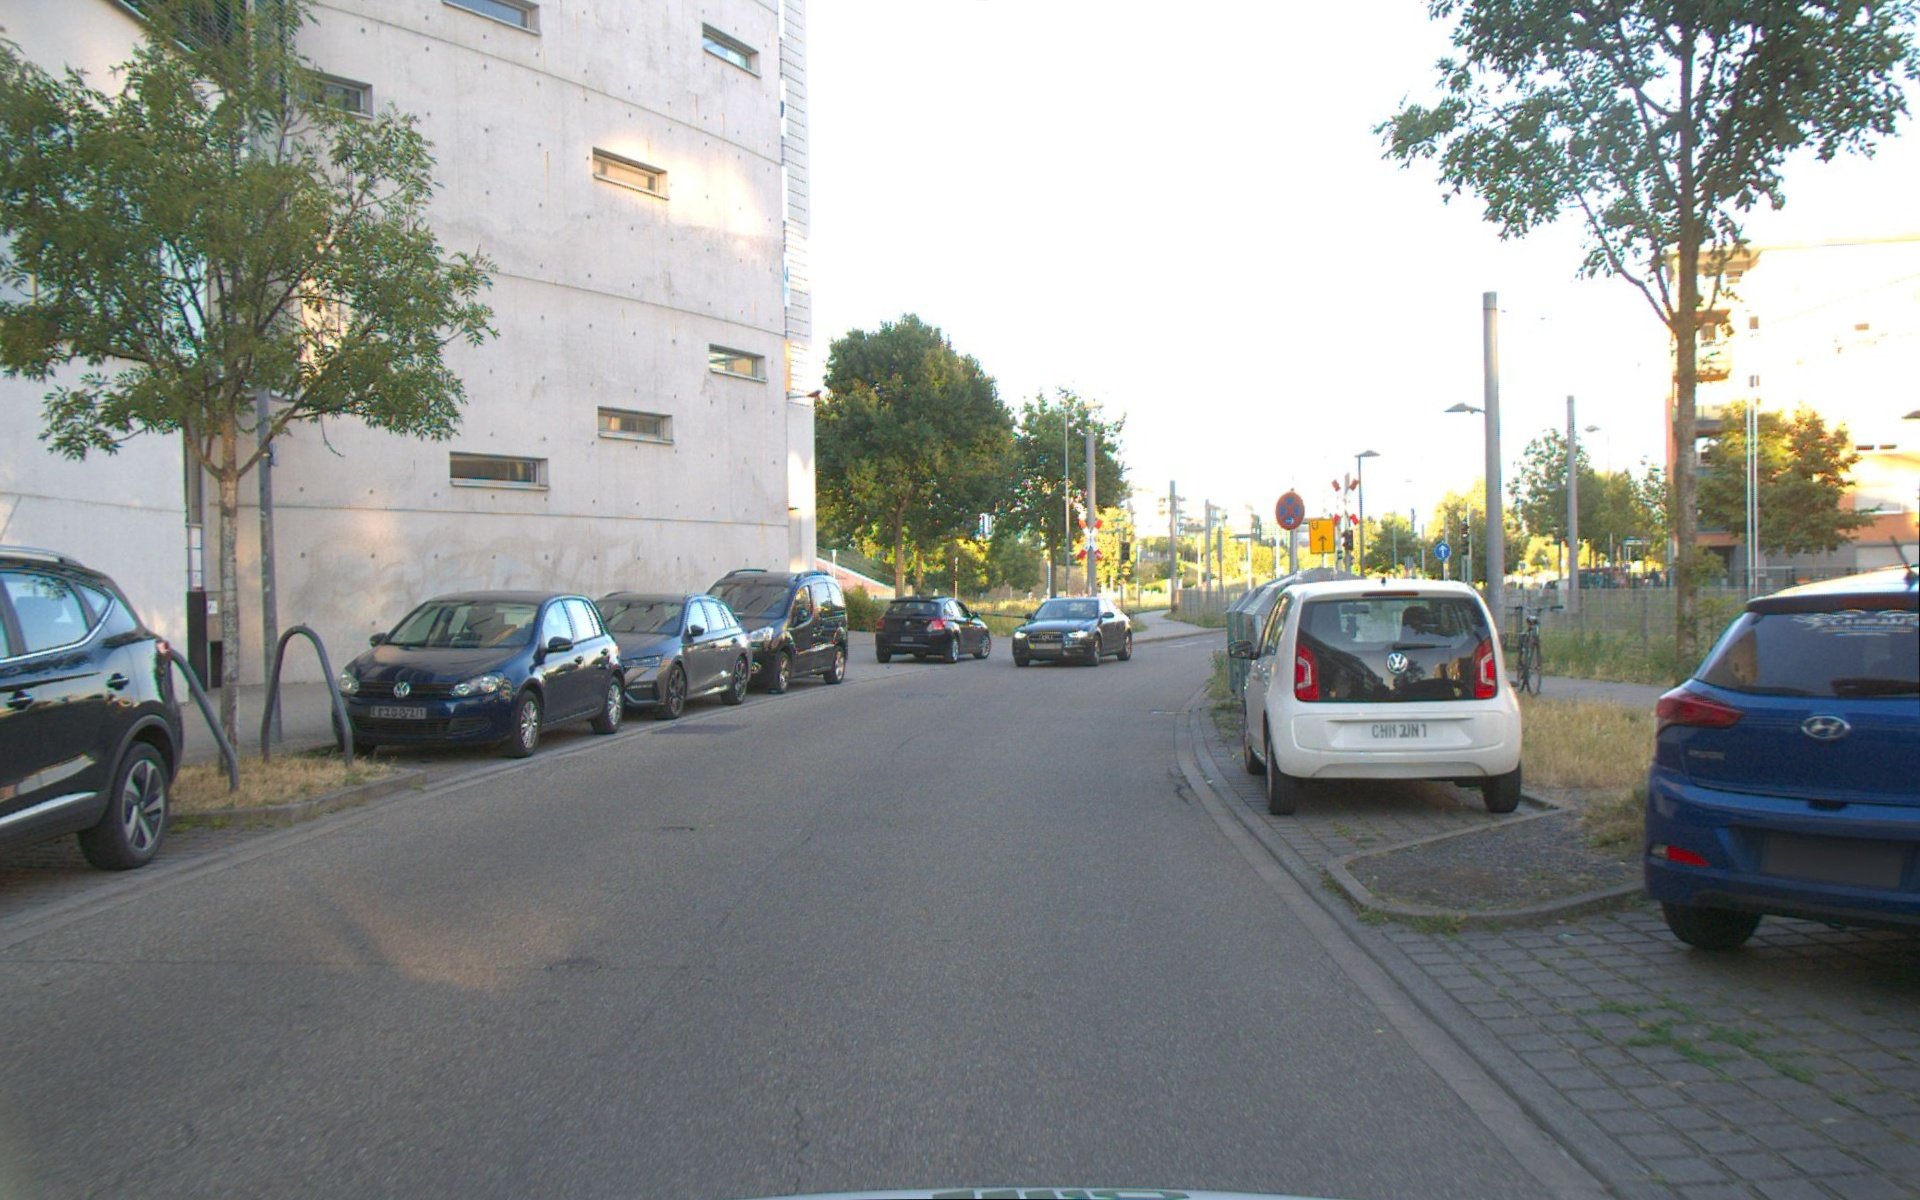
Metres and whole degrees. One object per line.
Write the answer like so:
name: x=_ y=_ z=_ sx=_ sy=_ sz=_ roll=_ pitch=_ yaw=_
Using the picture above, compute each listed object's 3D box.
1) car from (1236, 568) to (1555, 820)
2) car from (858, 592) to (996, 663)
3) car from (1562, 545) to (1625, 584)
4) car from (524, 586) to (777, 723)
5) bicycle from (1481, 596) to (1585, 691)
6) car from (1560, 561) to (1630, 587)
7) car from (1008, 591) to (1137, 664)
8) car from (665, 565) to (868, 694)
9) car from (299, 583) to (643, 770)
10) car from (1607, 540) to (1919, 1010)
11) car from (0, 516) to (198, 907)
car: x=2.929 y=0.549 z=11.806 sx=1.686 sy=1.493 sz=3.556 roll=-1 pitch=1 yaw=7
car: x=-0.655 y=0.558 z=36.662 sx=1.903 sy=1.406 sz=4.403 roll=1 pitch=1 yaw=15
car: x=44.100 y=-2.452 z=115.184 sx=4.067 sy=2.629 sz=1.703 roll=-1 pitch=0 yaw=21
car: x=-3.791 y=0.591 z=21.143 sx=1.685 sy=1.482 sz=4.698 roll=1 pitch=1 yaw=9
bicycle: x=7.059 y=0.514 z=20.447 sx=0.747 sy=1.101 sz=1.690 roll=-1 pitch=0 yaw=2
car: x=40.156 y=-1.633 z=104.635 sx=4.070 sy=1.603 sz=1.702 roll=-1 pitch=0 yaw=24
car: x=2.489 y=0.541 z=35.474 sx=1.741 sy=1.447 sz=4.518 roll=0 pitch=1 yaw=17
car: x=-2.947 y=0.390 z=26.241 sx=1.720 sy=1.830 sz=4.467 roll=1 pitch=1 yaw=14
car: x=-4.483 y=0.611 z=15.874 sx=1.686 sy=1.482 sz=4.274 roll=1 pitch=1 yaw=5
car: x=4.388 y=0.560 z=6.796 sx=3.719 sy=1.535 sz=1.663 roll=0 pitch=1 yaw=-40
car: x=-4.980 y=0.465 z=7.042 sx=1.720 sy=1.682 sz=3.947 roll=1 pitch=1 yaw=-2
